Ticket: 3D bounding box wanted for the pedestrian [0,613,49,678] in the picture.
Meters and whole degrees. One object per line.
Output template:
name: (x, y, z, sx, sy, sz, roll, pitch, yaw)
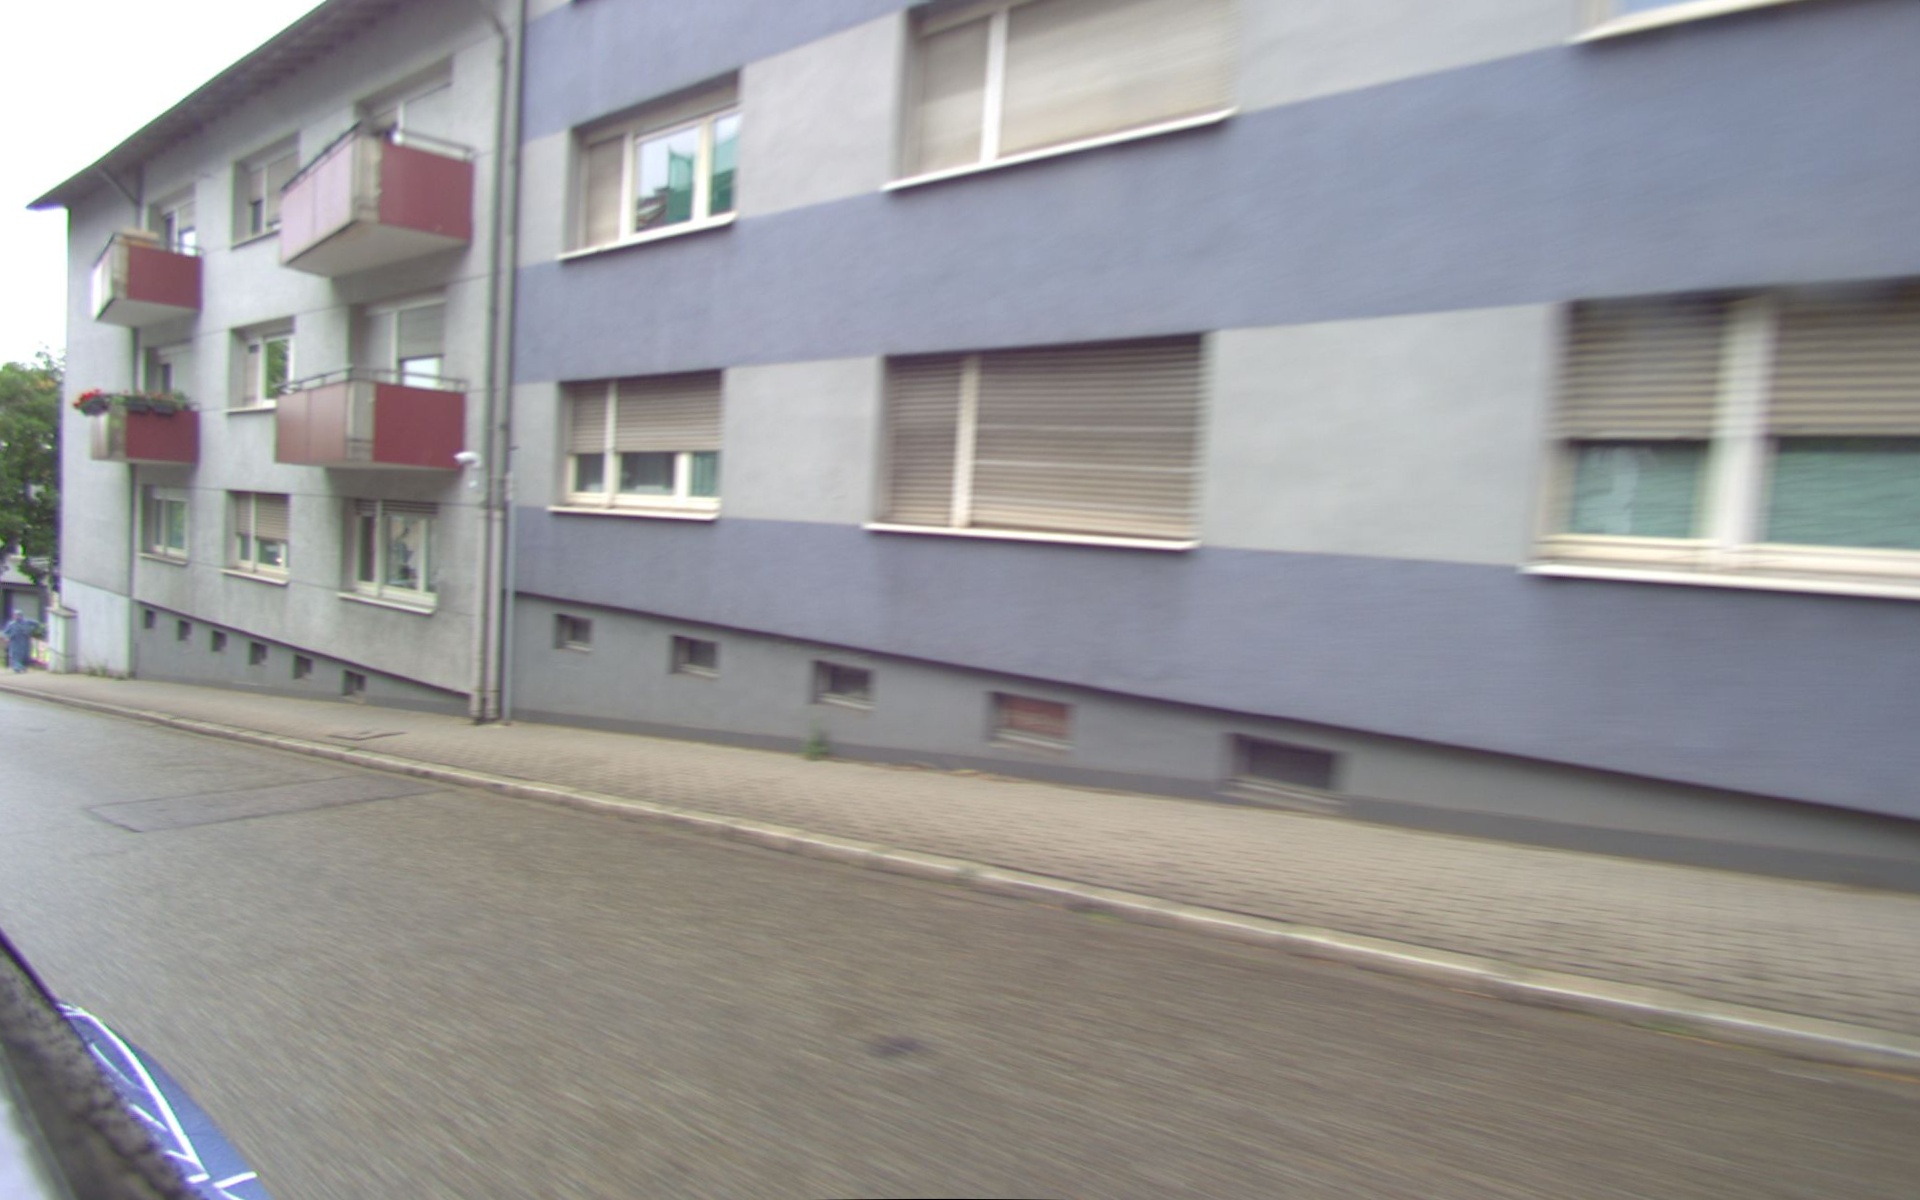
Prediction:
pedestrian: (-23.335, 1.106, 25.081, 1.085, 1.552, 0.862, -1, 1, 34)
